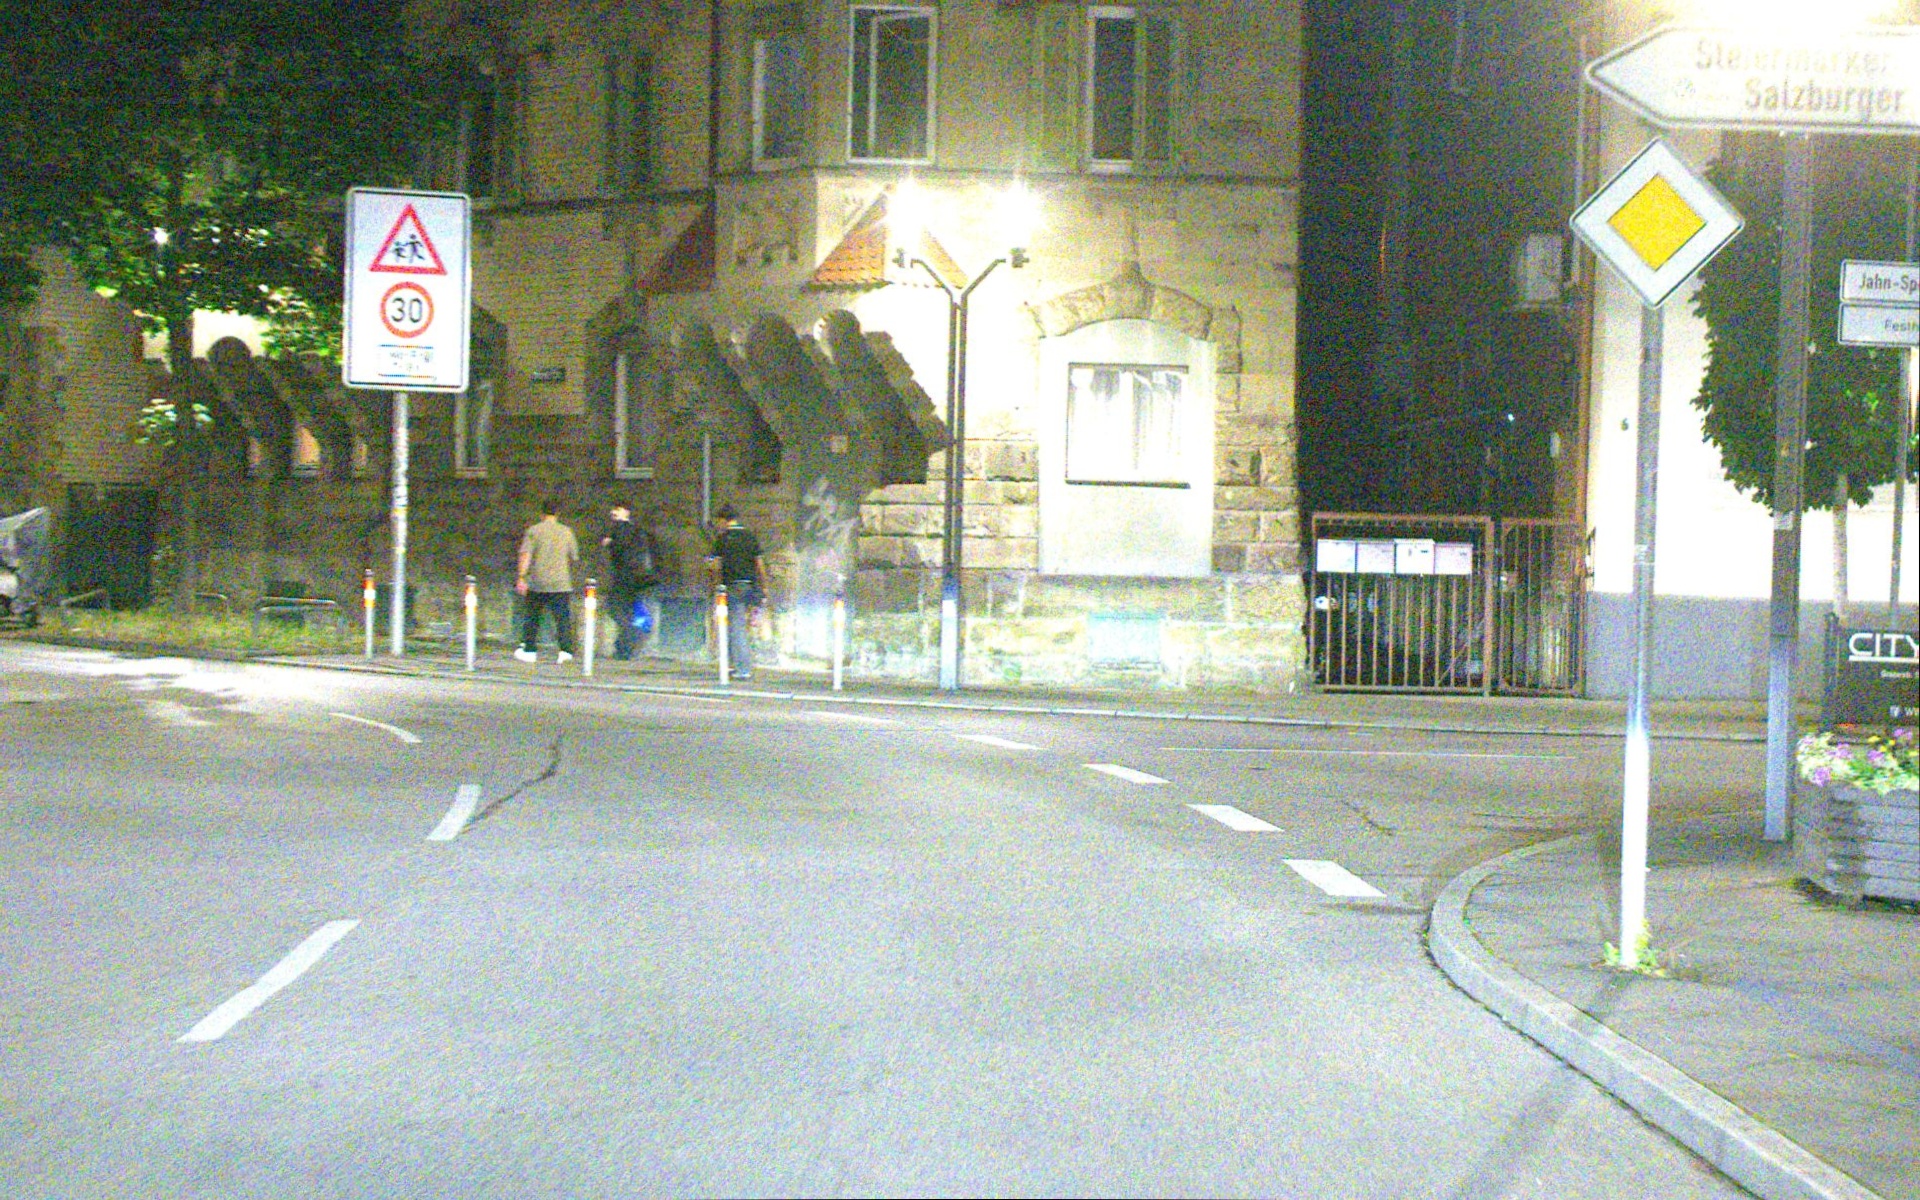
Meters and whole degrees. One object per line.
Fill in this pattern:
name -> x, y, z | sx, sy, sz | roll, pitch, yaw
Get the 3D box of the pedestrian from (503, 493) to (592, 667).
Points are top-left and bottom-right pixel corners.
pedestrian -> -4.111, -0.202, 34.254 | 0.704, 1.703, 0.507 | 3, 2, 43

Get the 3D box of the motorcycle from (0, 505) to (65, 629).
motorcycle -> -10.844, -0.391, 38.768 | 0.761, 1.348, 1.944 | 2, 2, 7

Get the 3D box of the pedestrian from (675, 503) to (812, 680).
pedestrian -> -2.054, -0.085, 32.638 | 0.965, 1.625, 0.808 | 2, 1, 29

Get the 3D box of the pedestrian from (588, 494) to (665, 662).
pedestrian -> -3.431, -0.230, 35.371 | 0.570, 1.703, 0.477 | 3, 2, 43
